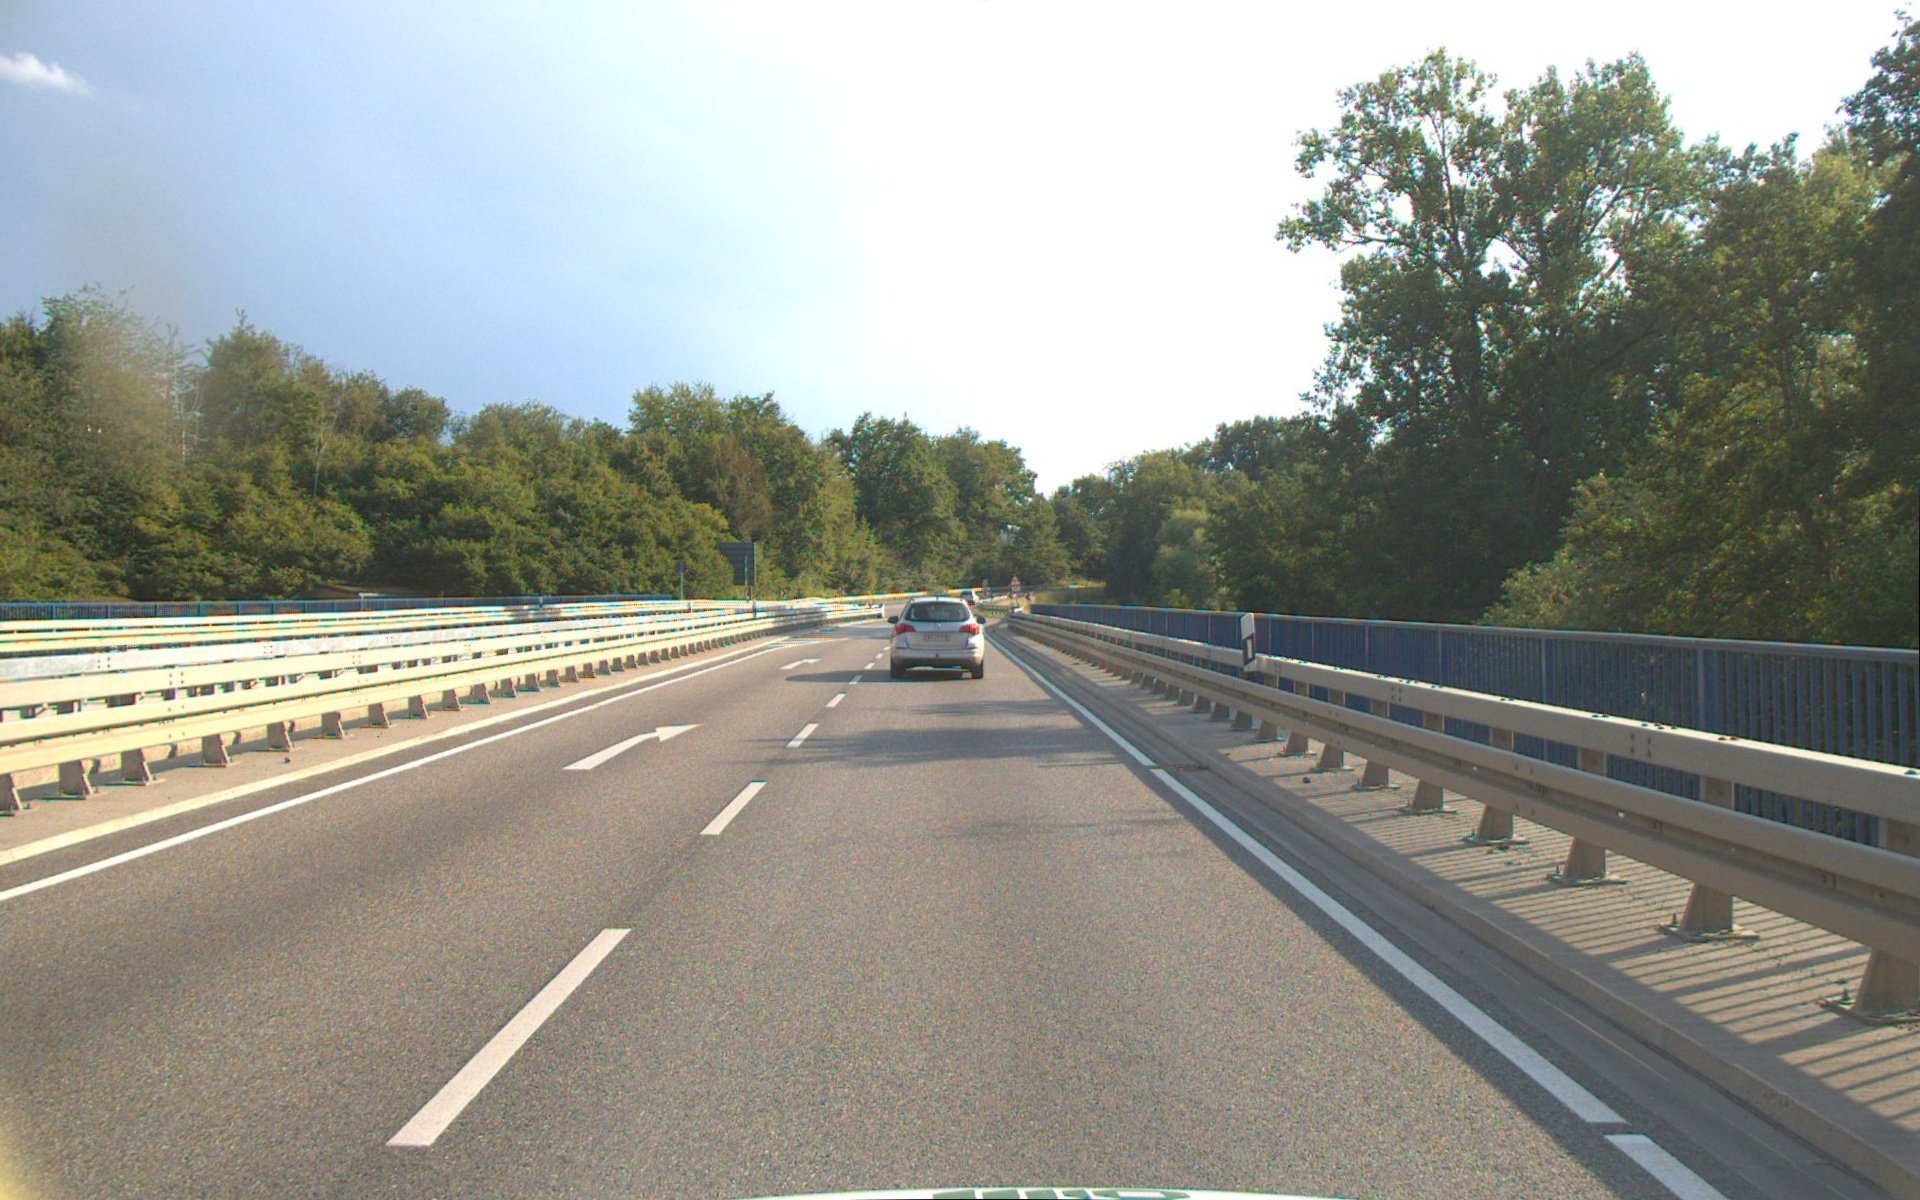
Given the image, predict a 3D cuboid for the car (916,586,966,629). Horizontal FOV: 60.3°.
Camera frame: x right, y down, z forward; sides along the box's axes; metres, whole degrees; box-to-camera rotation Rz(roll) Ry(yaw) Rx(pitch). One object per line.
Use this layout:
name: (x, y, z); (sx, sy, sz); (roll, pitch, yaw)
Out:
car: (-0.737, 0.300, 61.611); (1.772, 1.512, 3.998); (1, -1, -1)

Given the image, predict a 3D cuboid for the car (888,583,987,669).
car: (-0.453, 0.493, 31.861); (1.772, 1.512, 3.998); (1, -1, -1)

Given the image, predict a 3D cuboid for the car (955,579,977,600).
car: (0.625, -1.106, 171.529); (1.954, 2.049, 3.996); (1, -1, -4)
